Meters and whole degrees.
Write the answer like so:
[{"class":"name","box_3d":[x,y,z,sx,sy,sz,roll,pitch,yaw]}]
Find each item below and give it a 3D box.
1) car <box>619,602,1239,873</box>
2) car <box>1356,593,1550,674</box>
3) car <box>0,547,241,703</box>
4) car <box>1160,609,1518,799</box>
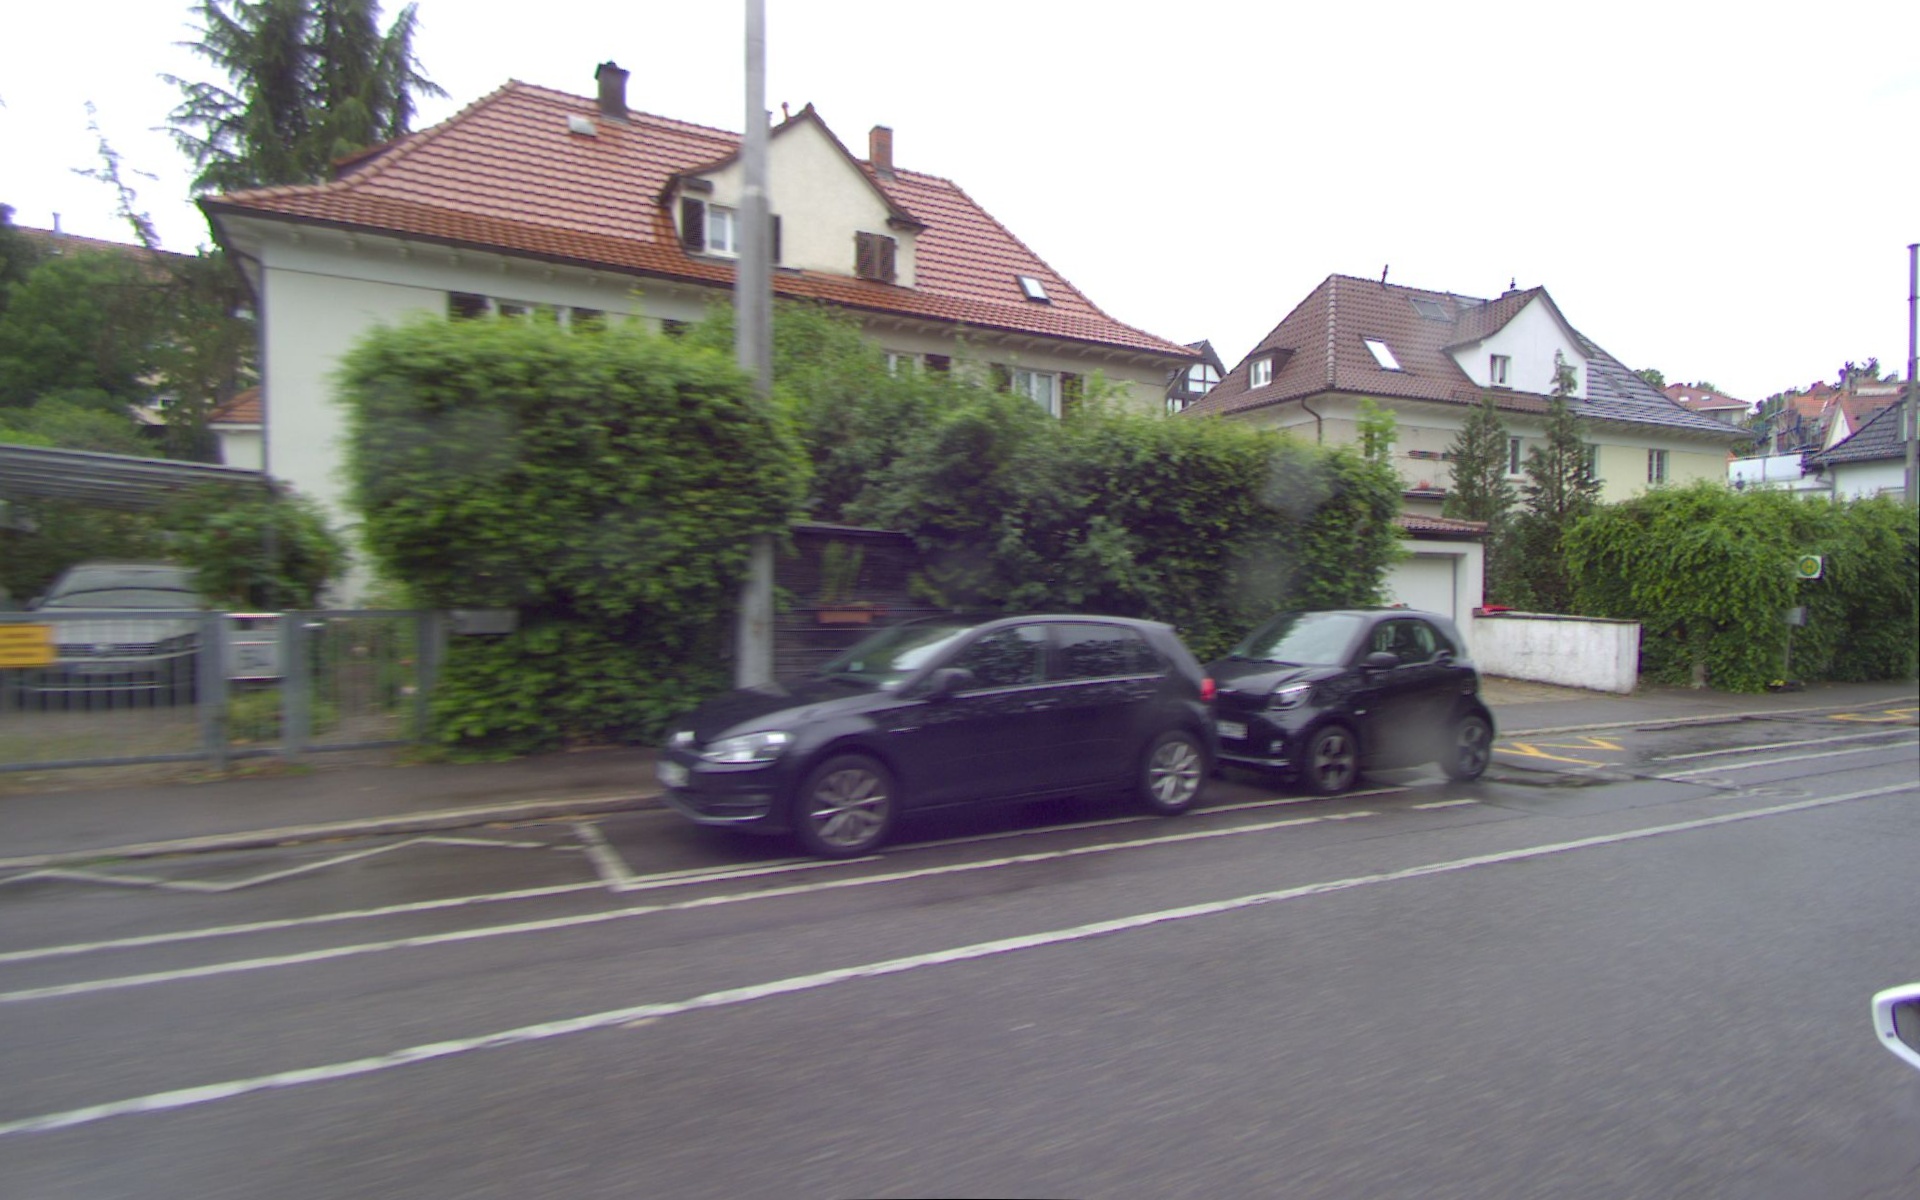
[{"class":"car","box_3d":[-0.097,0.758,7.164,4.168,1.437,1.679,1,-1,-32]},{"class":"car","box_3d":[11.067,0.720,22.786,1.614,1.442,3.627,2,3,-28]},{"class":"car","box_3d":[-10.021,0.196,12.199,1.642,1.467,3.967,2,3,-30]},{"class":"car","box_3d":[3.488,0.832,9.220,2.992,1.473,1.513,1,-1,-29]}]
